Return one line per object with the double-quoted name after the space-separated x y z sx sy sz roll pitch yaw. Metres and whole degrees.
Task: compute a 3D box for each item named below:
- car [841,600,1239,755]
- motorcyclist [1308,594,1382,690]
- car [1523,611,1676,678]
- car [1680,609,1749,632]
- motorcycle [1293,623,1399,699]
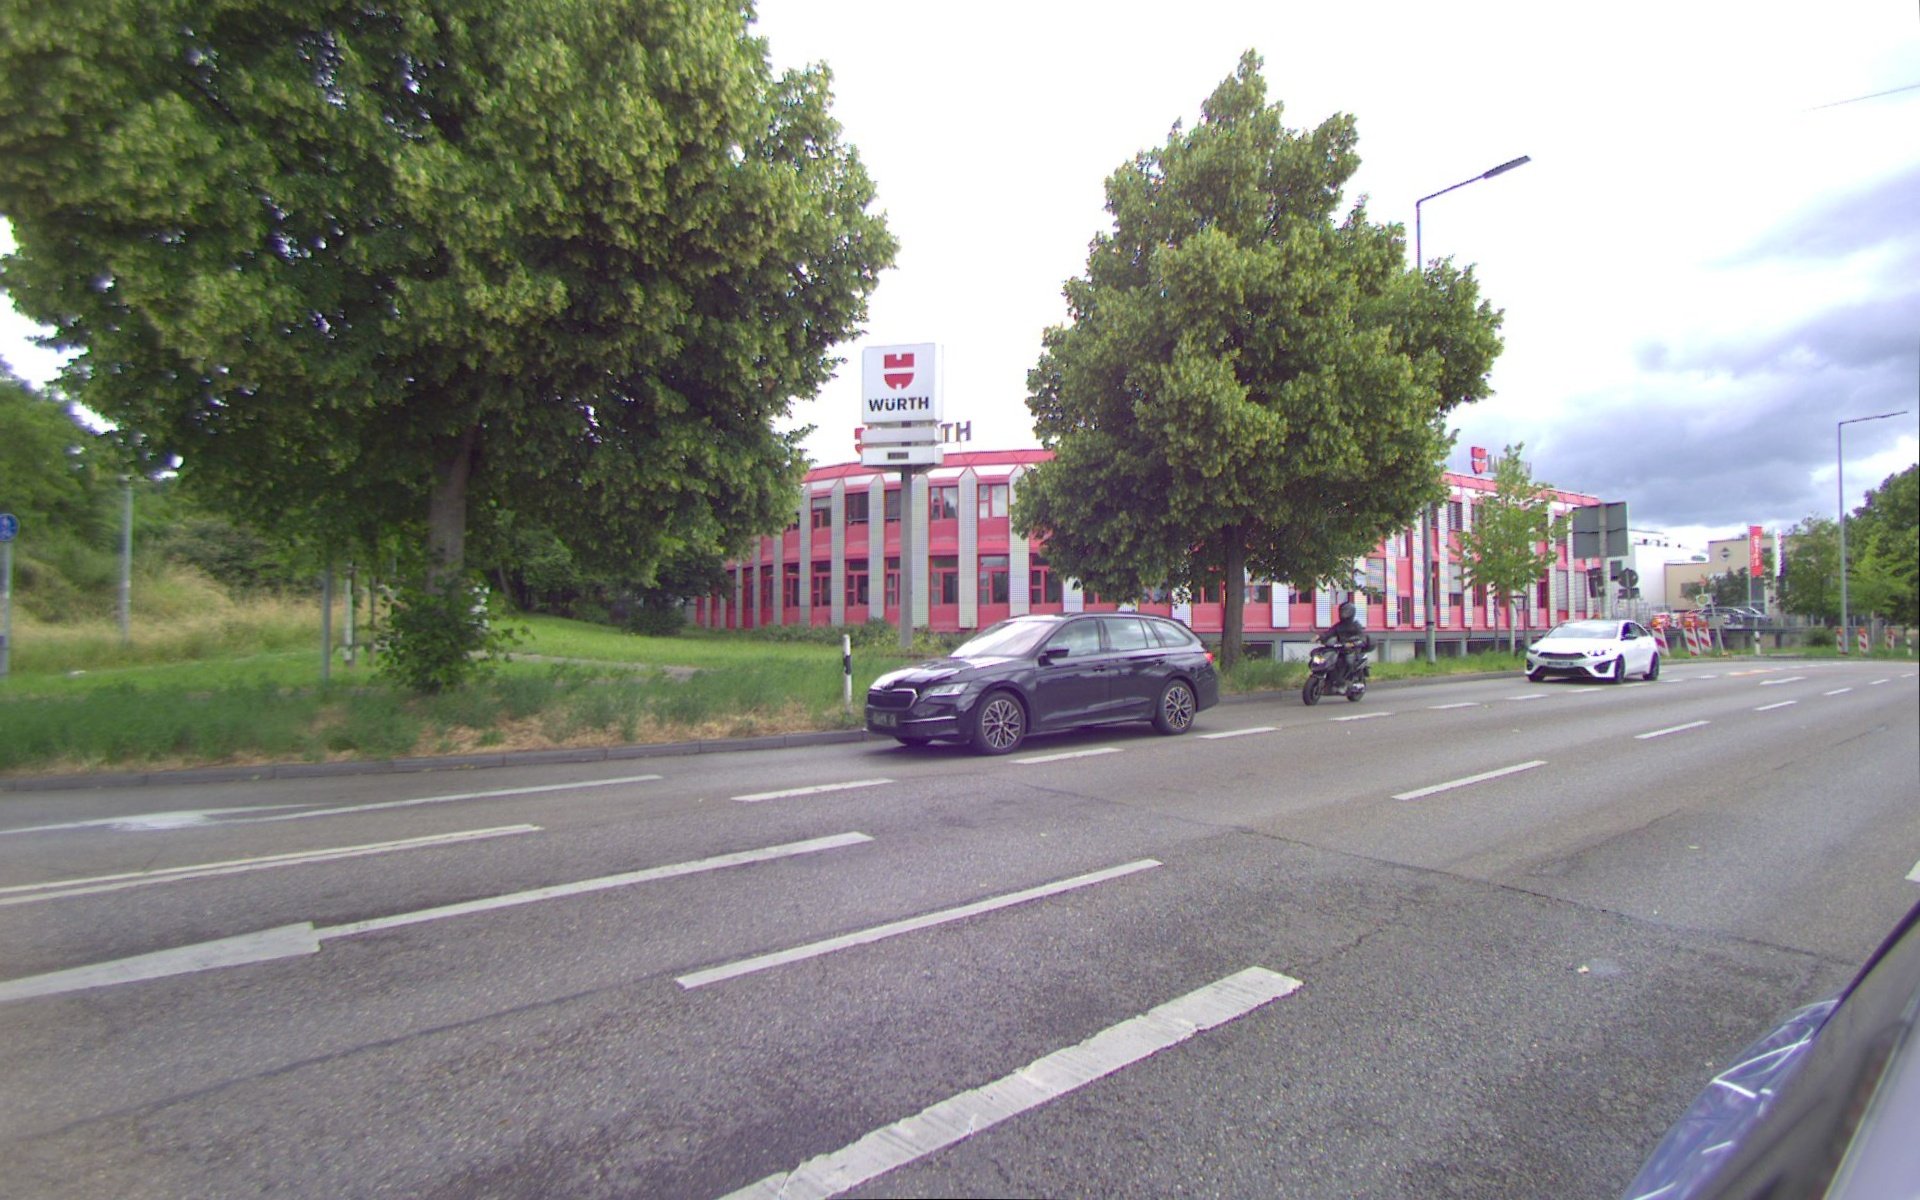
1.027 0.801 11.638 4.443 1.465 1.785 0 -4 -36 "car"
6.256 0.676 16.452 0.916 1.510 0.749 2 -3 -39 "motorcyclist"
14.581 0.983 22.972 4.401 1.380 1.783 2 -2 -42 "car"
61.801 1.687 82.959 1.752 1.776 4.247 0 0 -39 "car"
6.299 0.964 16.476 1.907 1.162 0.749 1 -3 -39 "motorcycle"
